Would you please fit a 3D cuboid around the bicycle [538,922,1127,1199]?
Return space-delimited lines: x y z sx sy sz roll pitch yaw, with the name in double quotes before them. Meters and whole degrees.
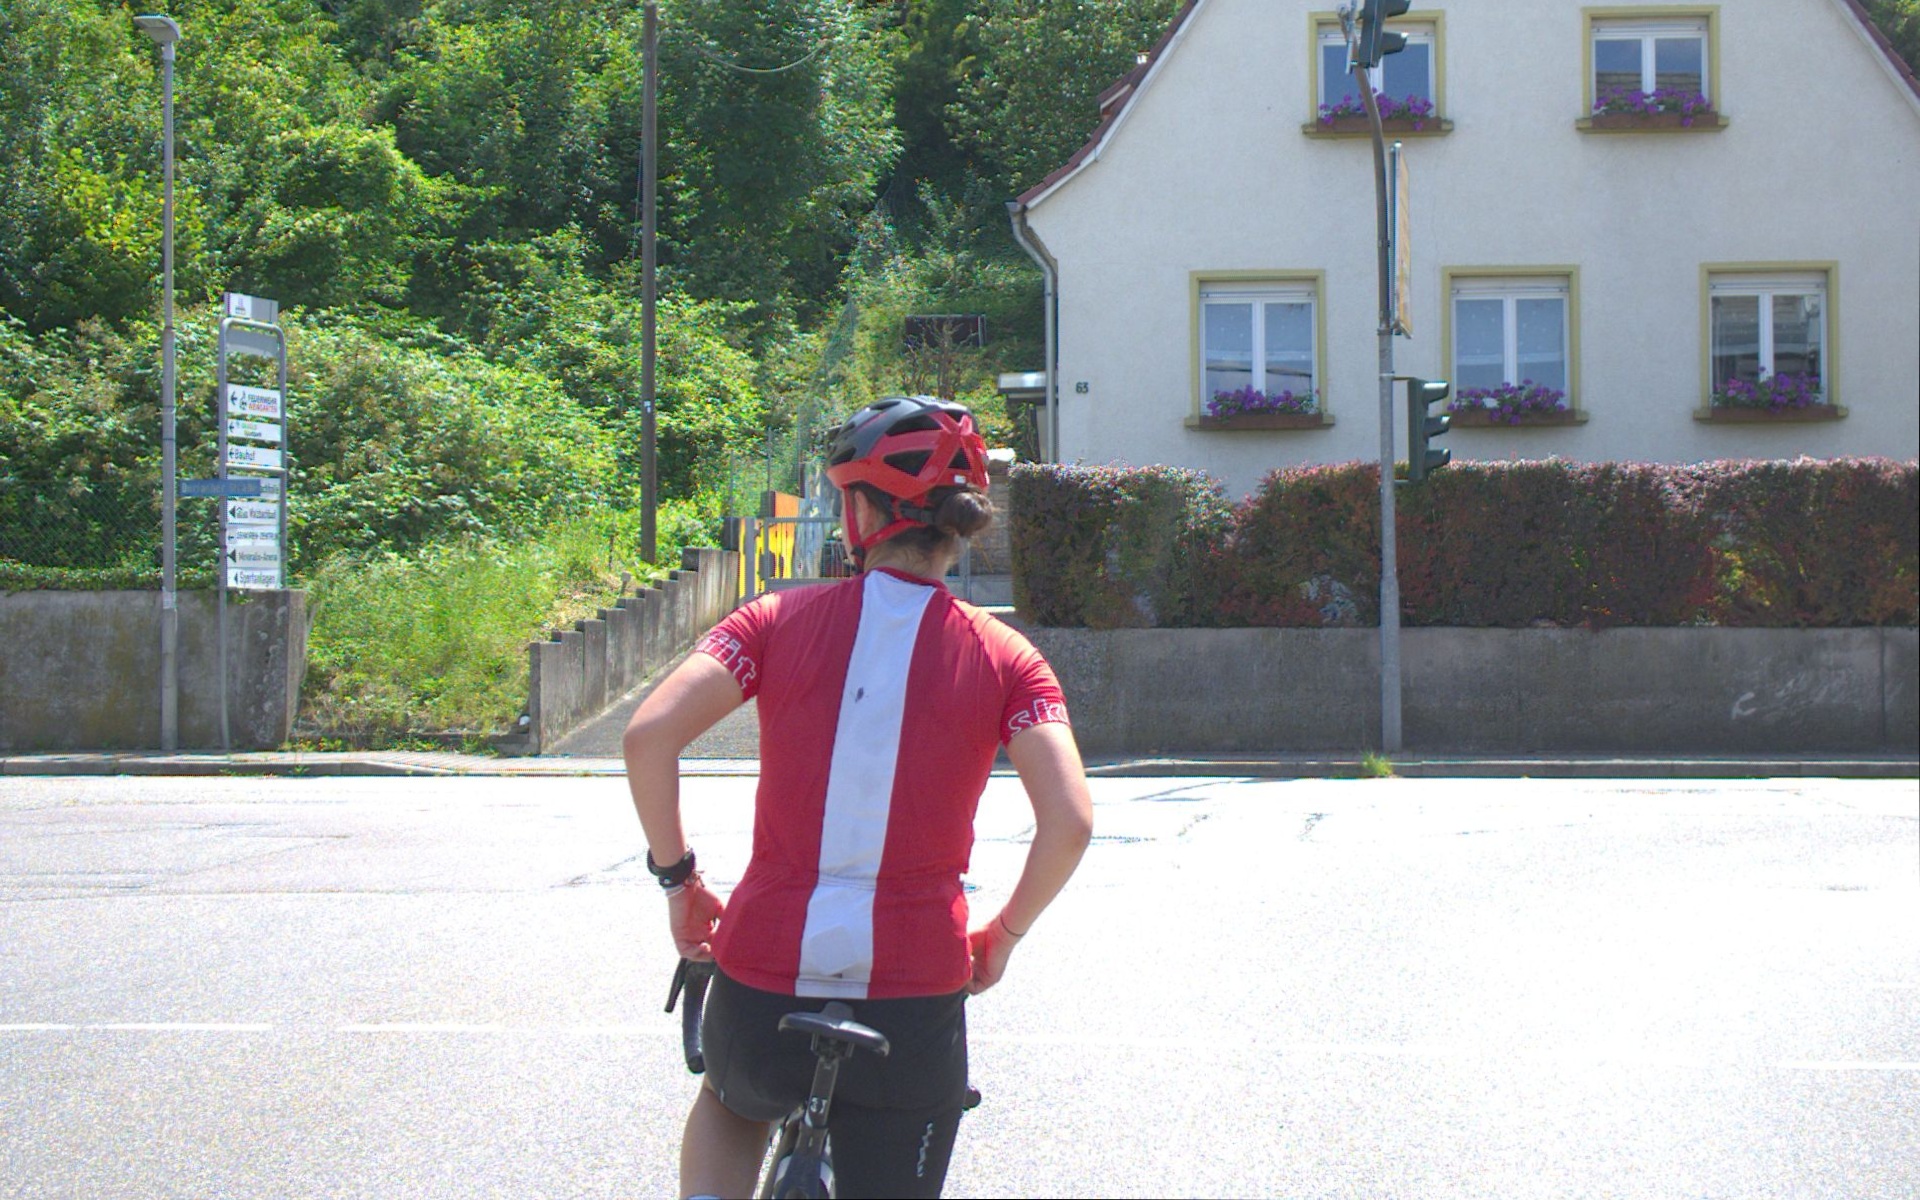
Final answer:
"bicycle" -0.186 0.967 4.525 0.630 0.902 1.657 1 1 -3

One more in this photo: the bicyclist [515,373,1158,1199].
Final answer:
"bicyclist" -0.177 0.556 4.612 0.760 1.659 0.869 1 1 -3
